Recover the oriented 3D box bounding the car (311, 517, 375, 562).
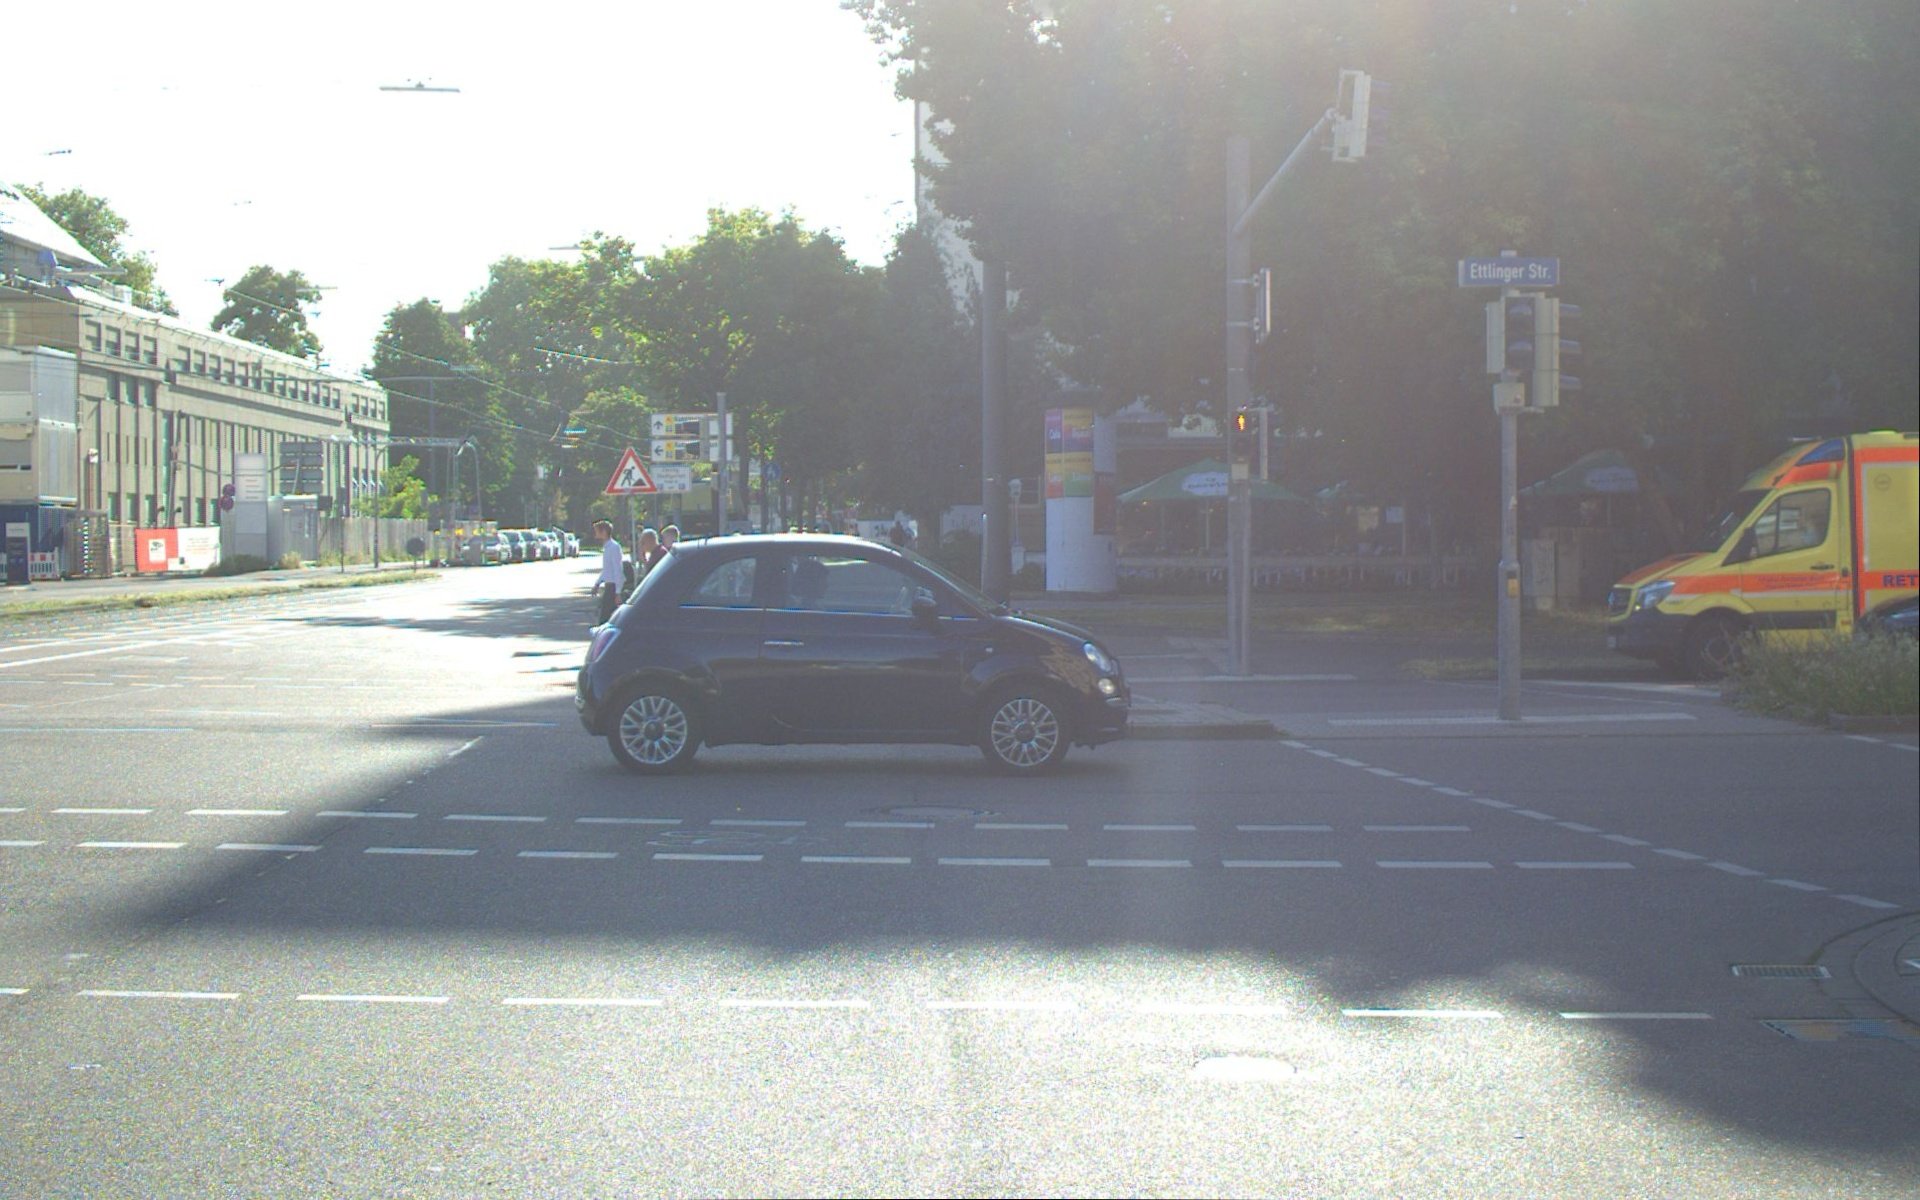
[{"bbox_3d":[-23.946,-2.343,133.461,1.819,1.706,3.806,0,1,-1],"label":"car"}]

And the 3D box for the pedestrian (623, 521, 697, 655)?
[{"bbox_3d":[-4.040,-0.168,46.262,0.847,1.778,0.780,-1,1,-17],"label":"pedestrian"}]

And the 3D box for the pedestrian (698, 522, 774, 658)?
[{"bbox_3d":[-2.978,-0.140,45.662,0.847,1.778,0.780,-1,1,-17],"label":"pedestrian"}]

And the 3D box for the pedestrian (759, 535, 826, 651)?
[{"bbox_3d":[-2.265,-0.100,46.437,0.762,1.553,0.588,-1,1,-17],"label":"pedestrian"}]

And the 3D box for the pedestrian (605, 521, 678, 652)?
[{"bbox_3d":[-4.356,-0.191,47.030,0.847,1.778,0.780,-1,1,-17],"label":"pedestrian"}]

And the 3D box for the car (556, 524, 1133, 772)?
[{"bbox_3d":[-0.737,0.285,21.888,3.530,1.501,1.523,0,1,-3],"label":"car"}]

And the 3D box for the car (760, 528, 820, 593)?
[{"bbox_3d":[-5.303,-1.214,107.629,1.684,1.955,3.509,1,0,-1],"label":"car"}]

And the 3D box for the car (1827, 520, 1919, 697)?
[{"bbox_3d":[10.727,0.125,32.961,4.314,1.641,1.888,1,0,0],"label":"car"}]

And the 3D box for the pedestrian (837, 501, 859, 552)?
[{"bbox_3d":[-8.002,-5.233,245.751,1.401,3.584,1.568,1,0,-1],"label":"pedestrian"}]

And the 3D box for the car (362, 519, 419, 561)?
[{"bbox_3d":[-23.900,-2.527,144.369,1.819,1.706,3.806,0,1,-1],"label":"car"}]

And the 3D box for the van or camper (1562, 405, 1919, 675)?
[{"bbox_3d":[10.358,-0.620,38.728,6.709,2.852,2.910,1,0,4],"label":"van or camper"}]

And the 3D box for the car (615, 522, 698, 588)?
[{"bbox_3d":[-7.202,-1.056,81.855,1.684,1.495,3.509,1,0,-1],"label":"car"}]

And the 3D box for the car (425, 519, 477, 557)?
[{"bbox_3d":[-23.047,-2.809,155.848,1.819,1.706,3.806,0,1,-1],"label":"car"}]

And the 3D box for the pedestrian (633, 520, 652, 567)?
[{"bbox_3d":[-9.954,-1.770,107.695,0.524,1.479,0.437,1,0,-2],"label":"pedestrian"}]

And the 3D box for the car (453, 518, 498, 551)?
[{"bbox_3d":[-22.533,-3.035,160.038,1.609,1.493,3.806,0,1,-1],"label":"car"}]

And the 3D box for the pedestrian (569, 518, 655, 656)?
[{"bbox_3d":[-4.540,-0.178,44.794,0.965,1.778,0.780,-1,1,-17],"label":"pedestrian"}]
